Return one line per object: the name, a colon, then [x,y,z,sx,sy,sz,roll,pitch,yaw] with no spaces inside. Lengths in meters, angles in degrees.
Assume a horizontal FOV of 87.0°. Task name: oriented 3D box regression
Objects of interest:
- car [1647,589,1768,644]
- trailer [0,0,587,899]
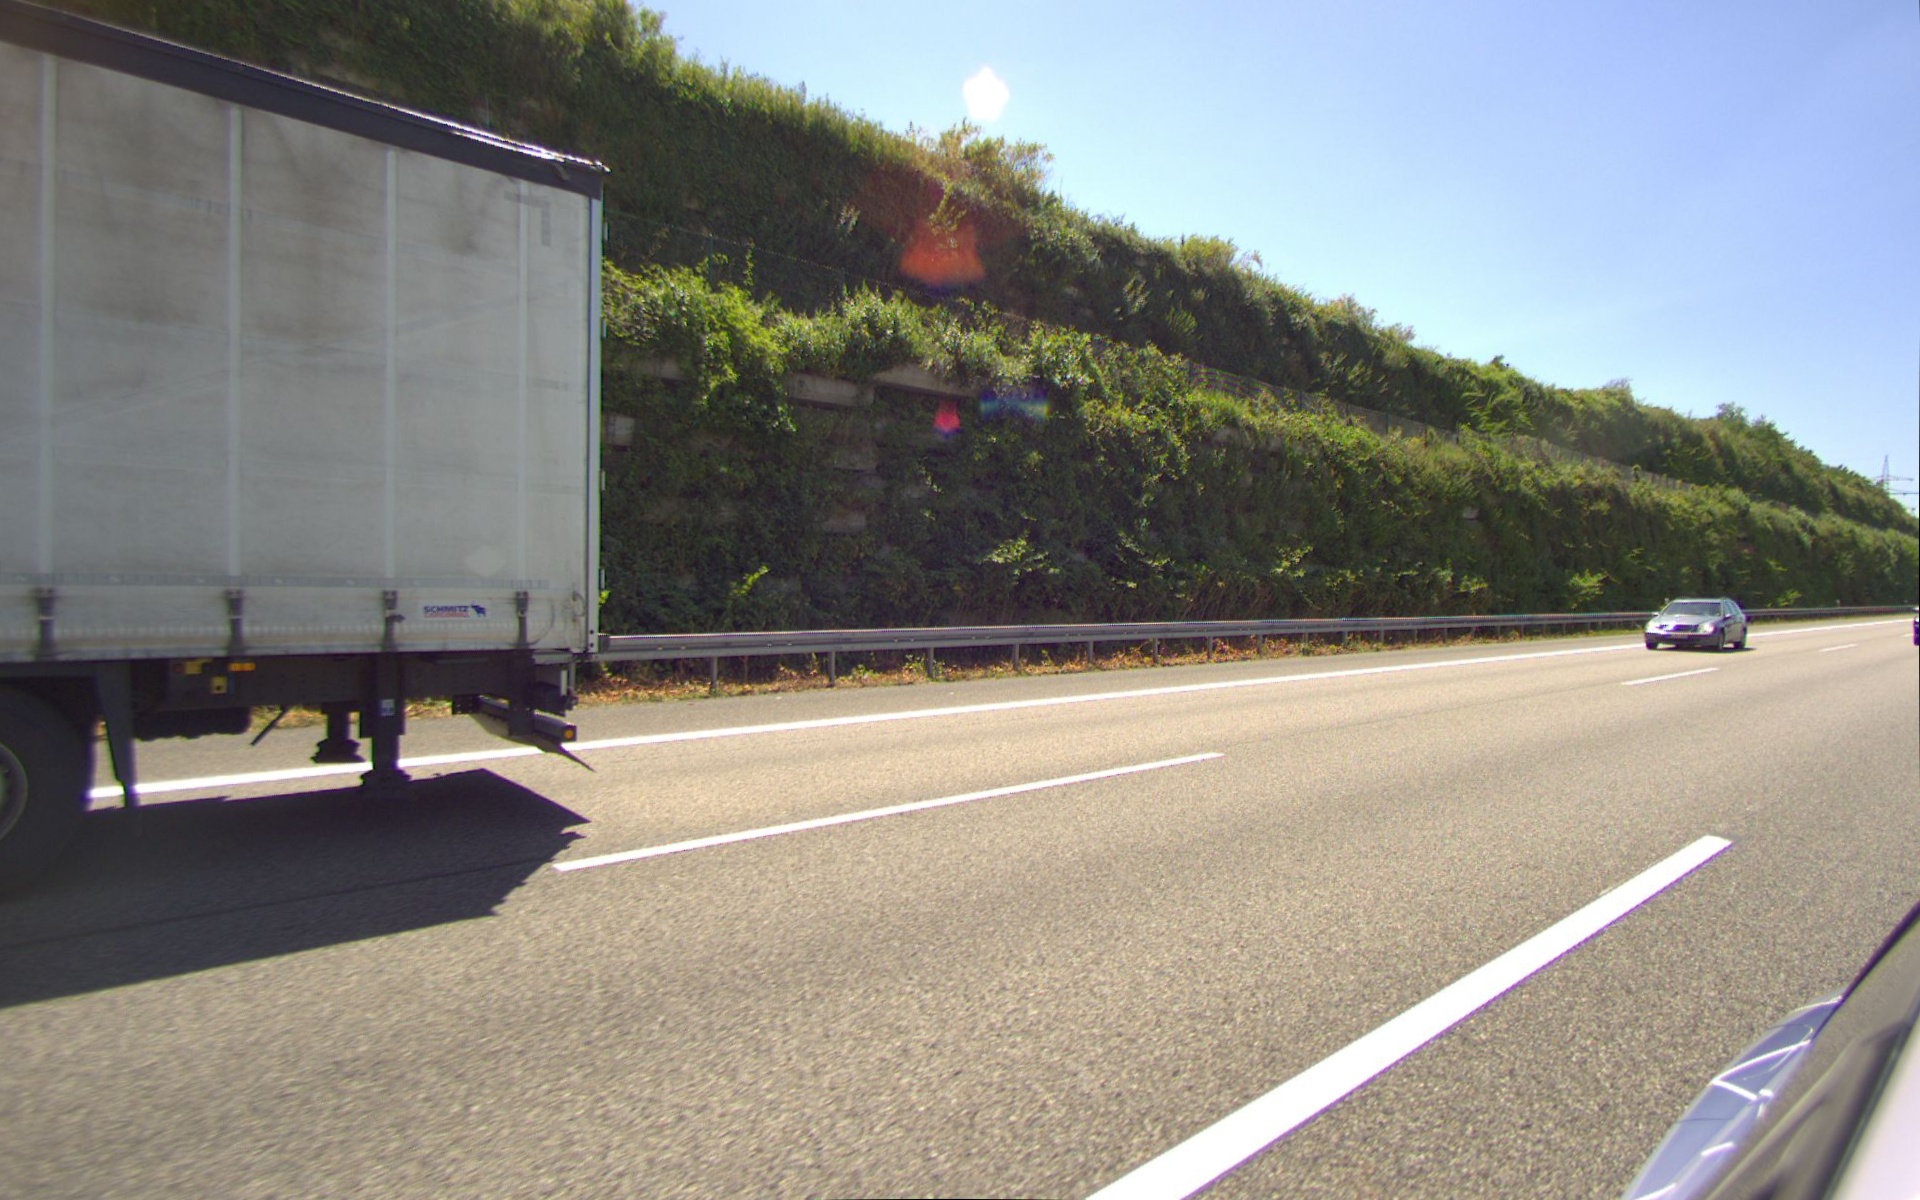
car: [21.044,0.412,28.438,4.479,1.429,1.838,0,1,-41]
trailer: [-8.011,-0.777,2.857,12.960,4.153,2.733,0,1,-41]
